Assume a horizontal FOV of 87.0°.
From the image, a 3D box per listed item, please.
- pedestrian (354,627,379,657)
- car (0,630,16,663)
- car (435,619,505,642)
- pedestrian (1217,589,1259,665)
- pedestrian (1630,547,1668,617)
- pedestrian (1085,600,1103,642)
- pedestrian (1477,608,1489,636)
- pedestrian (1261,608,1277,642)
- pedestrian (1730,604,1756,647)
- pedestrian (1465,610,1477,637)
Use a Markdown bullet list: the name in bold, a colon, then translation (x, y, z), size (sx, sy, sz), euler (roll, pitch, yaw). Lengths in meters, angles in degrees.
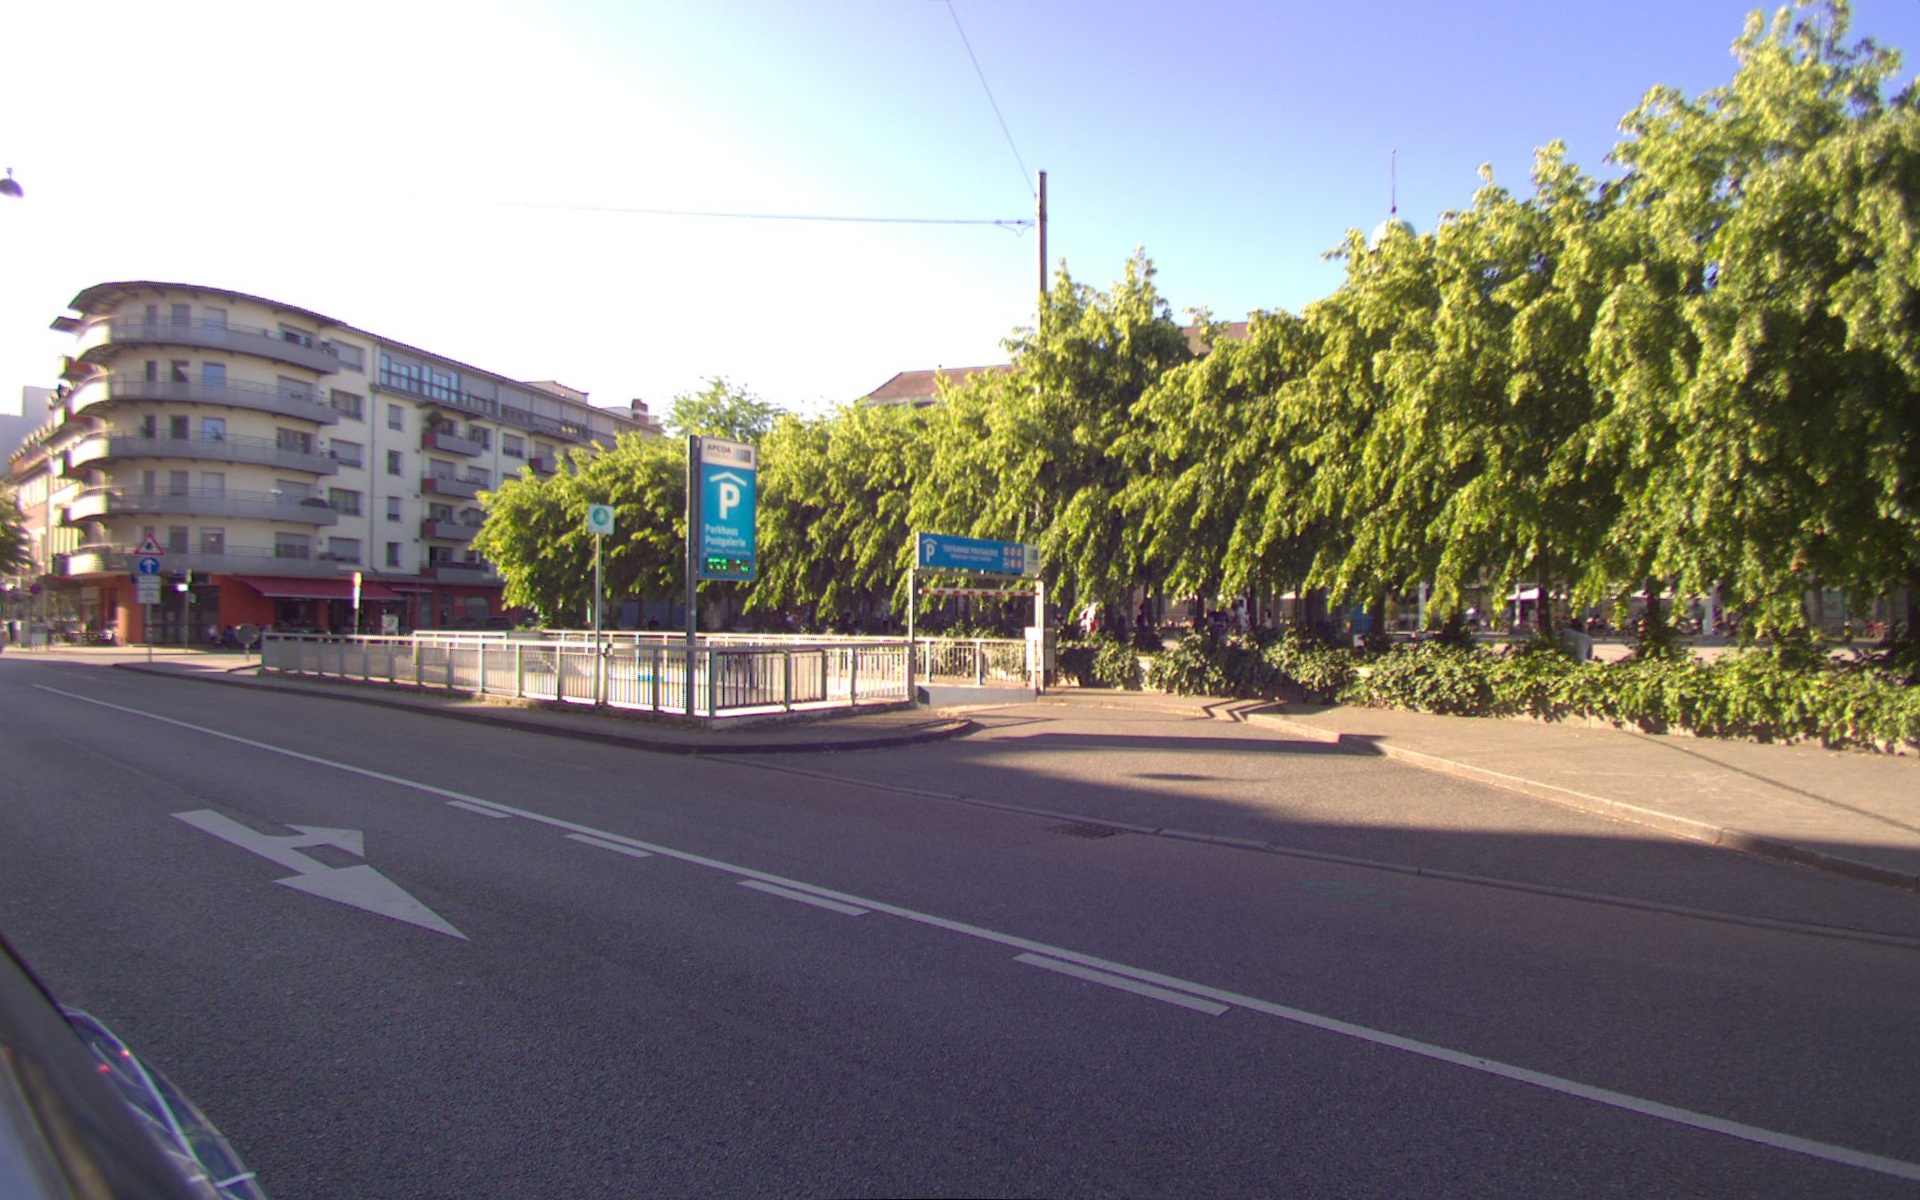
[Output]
- **pedestrian**: translation (-32.668, 2.291, 55.696), size (0.877, 1.607, 0.861), euler (-1, 0, 2)
- **car**: translation (-42.076, 1.901, 42.644), size (4.238, 1.363, 1.810), euler (1, -2, 24)
- **car**: translation (-30.570, 1.887, 63.238), size (1.742, 1.311, 3.977), euler (-1, -1, 17)
- **pedestrian**: translation (6.186, 0.587, 22.510), size (0.645, 1.661, 0.626), euler (-1, 0, -35)
- **pedestrian**: translation (17.427, -0.442, 25.600), size (0.643, 1.734, 0.604), euler (-1, 0, 22)
- **pedestrian**: translation (5.514, 0.863, 41.688), size (0.604, 1.734, 0.642), euler (-1, 0, 21)
- **pedestrian**: translation (33.131, 1.412, 64.144), size (0.643, 1.734, 0.603), euler (-1, 0, 26)
- **pedestrian**: translation (15.553, 1.255, 50.947), size (0.606, 1.734, 0.640), euler (-1, 0, 31)
- **pedestrian**: translation (31.683, 1.030, 40.950), size (0.641, 1.734, 0.605), euler (-1, 0, 18)
- **pedestrian**: translation (32.883, 1.491, 65.152), size (0.643, 1.734, 0.603), euler (-1, 0, 26)
